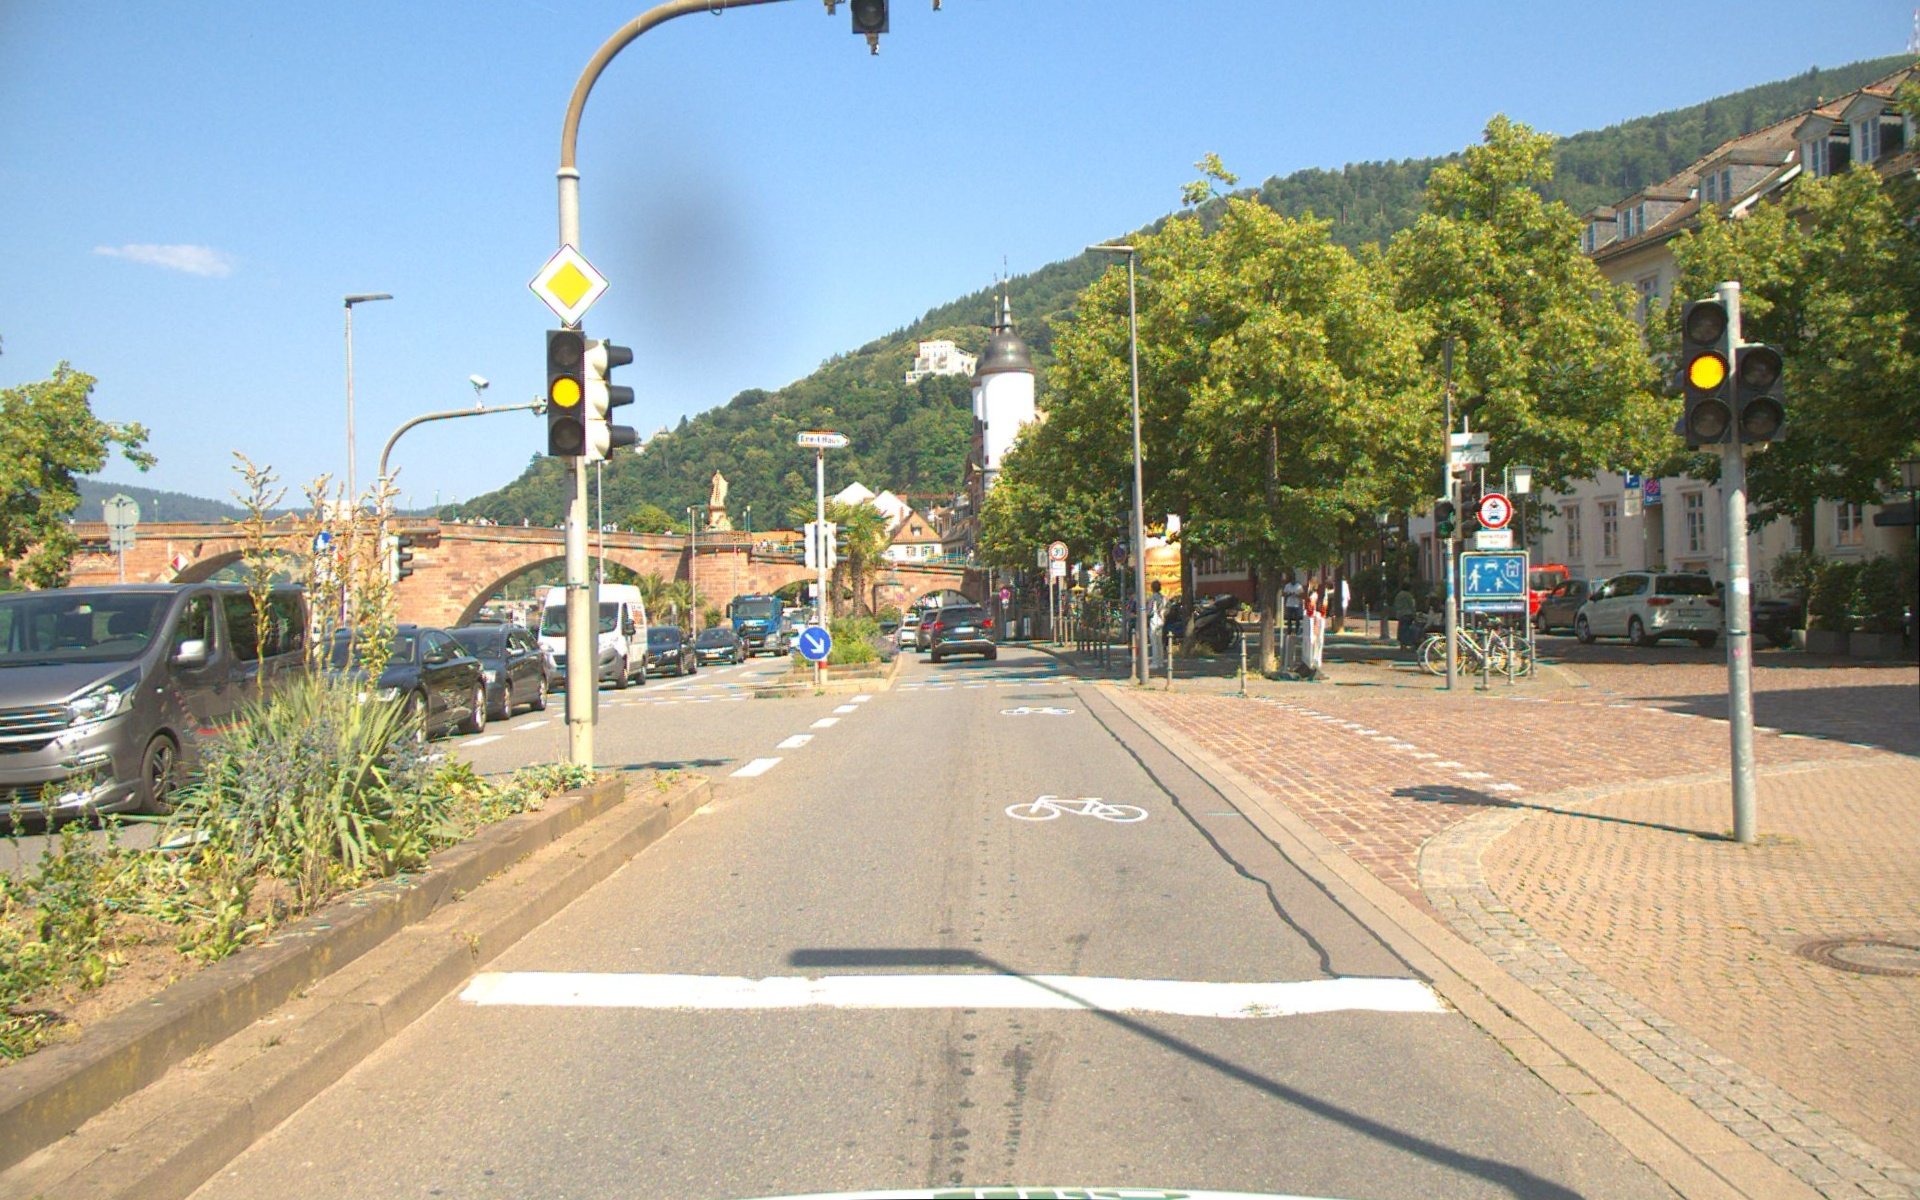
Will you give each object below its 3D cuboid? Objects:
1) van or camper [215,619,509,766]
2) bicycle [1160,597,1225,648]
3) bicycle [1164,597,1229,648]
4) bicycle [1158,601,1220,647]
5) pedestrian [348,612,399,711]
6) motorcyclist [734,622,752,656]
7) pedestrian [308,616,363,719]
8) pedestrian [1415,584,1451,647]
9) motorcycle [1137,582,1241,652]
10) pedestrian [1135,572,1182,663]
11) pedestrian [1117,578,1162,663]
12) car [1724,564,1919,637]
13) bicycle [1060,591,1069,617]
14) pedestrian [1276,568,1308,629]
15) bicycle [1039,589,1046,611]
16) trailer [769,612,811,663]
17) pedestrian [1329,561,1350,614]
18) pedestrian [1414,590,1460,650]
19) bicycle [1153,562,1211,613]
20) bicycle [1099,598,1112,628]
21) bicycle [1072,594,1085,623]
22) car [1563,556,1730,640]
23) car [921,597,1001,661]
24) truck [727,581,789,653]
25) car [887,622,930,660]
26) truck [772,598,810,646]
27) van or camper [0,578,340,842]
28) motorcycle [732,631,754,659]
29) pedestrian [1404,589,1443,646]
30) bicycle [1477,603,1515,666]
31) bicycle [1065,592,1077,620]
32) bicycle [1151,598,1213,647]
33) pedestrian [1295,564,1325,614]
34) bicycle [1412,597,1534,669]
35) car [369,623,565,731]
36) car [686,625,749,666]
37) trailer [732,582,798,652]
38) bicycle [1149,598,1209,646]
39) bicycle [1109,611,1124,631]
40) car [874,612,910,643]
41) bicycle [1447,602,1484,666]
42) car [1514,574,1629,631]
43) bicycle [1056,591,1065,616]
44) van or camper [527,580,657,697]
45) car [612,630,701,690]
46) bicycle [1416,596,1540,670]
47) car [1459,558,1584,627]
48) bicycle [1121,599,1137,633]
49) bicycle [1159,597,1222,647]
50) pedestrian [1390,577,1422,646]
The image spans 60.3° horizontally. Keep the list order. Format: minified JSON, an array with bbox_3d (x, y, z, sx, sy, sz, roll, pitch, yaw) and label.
[{"bbox_3d":[-7.339,1.057,20.919,1.954,1.502,5.063,-3,0,-2],"label":"van or camper"},{"bbox_3d":[5.595,0.536,39.825,1.456,1.139,0.377,-3,0,-7],"label":"bicycle"},{"bbox_3d":[5.635,0.537,39.444,1.454,1.139,0.294,-3,0,-4],"label":"bicycle"},{"bbox_3d":[5.698,0.595,41.207,1.456,1.049,0.293,-3,0,-7],"label":"bicycle"},{"bbox_3d":[-11.099,1.159,31.317,0.681,1.811,0.762,4,-1,-9],"label":"pedestrian"},{"bbox_3d":[-9.817,1.742,74.841,0.721,1.496,1.011,-2,0,-3],"label":"motorcyclist"},{"bbox_3d":[-11.419,1.223,30.275,0.681,1.811,0.762,4,-1,-9],"label":"pedestrian"},{"bbox_3d":[10.613,0.355,37.118,0.614,1.406,0.540,0,0,-9],"label":"pedestrian"},{"bbox_3d":[5.262,0.405,38.087,2.255,1.490,0.760,-4,-2,40],"label":"motorcycle"},{"bbox_3d":[4.069,0.356,33.904,0.681,1.802,0.762,-3,0,-9],"label":"pedestrian"},{"bbox_3d":[3.741,0.420,34.515,0.681,1.706,0.762,-3,0,-9],"label":"pedestrian"},{"bbox_3d":[19.238,0.006,36.879,3.667,1.457,1.620,-2,0,-4],"label":"car"},{"bbox_3d":[4.534,0.159,71.536,0.245,1.115,1.488,0,0,-2],"label":"bicycle"},{"bbox_3d":[9.336,-0.049,46.542,0.693,1.682,0.706,-2,0,-2],"label":"pedestrian"},{"bbox_3d":[4.189,0.019,84.167,0.348,1.115,1.489,0,0,4],"label":"bicycle"},{"bbox_3d":[-12.561,2.717,122.897,2.605,3.463,10.159,-2,0,-4],"label":"trailer"},{"bbox_3d":[14.915,-0.506,65.011,0.622,2.049,0.644,-2,0,-2],"label":"pedestrian"},{"bbox_3d":[10.479,0.440,36.366,0.681,1.274,0.762,-2,0,-9],"label":"pedestrian"},{"bbox_3d":[6.900,-0.395,51.407,1.739,1.509,0.269,-2,-1,-4],"label":"bicycle"},{"bbox_3d":[5.107,0.460,57.960,0.245,1.018,1.488,0,0,-3],"label":"bicycle"},{"bbox_3d":[4.703,0.331,65.563,0.338,1.115,1.488,0,0,-2],"label":"bicycle"},{"bbox_3d":[15.567,-0.066,37.780,1.733,1.759,4.566,-1,0,-2],"label":"car"},{"bbox_3d":[-0.027,0.777,46.047,1.888,1.580,4.828,-3,0,-3],"label":"car"},{"bbox_3d":[-10.240,0.849,84.061,2.604,3.463,4.448,-2,0,-1],"label":"truck"},{"bbox_3d":[-2.419,1.901,78.516,1.953,1.580,4.830,-2,0,-2],"label":"car"},{"bbox_3d":[-12.692,1.619,124.544,2.605,3.463,5.131,-2,0,-4],"label":"truck"},{"bbox_3d":[-7.393,0.842,14.698,1.954,1.906,5.176,-3,0,-3],"label":"van or camper"},{"bbox_3d":[-9.814,2.031,74.826,0.742,1.151,2.454,-2,0,-3],"label":"motorcycle"},{"bbox_3d":[10.582,0.400,37.769,0.614,1.304,0.752,0,0,-9],"label":"pedestrian"},{"bbox_3d":[9.694,0.619,29.941,0.581,1.086,2.066,-2,-1,17],"label":"bicycle"},{"bbox_3d":[4.639,0.258,69.133,0.270,1.114,1.488,-6,0,-2],"label":"bicycle"},{"bbox_3d":[5.564,0.552,41.444,1.456,1.139,0.250,-3,0,-7],"label":"bicycle"},{"bbox_3d":[13.744,-0.426,65.037,0.949,1.948,0.747,-2,-1,-1],"label":"pedestrian"},{"bbox_3d":[8.919,0.573,28.794,1.969,1.219,0.522,0,0,10],"label":"bicycle"},{"bbox_3d":[-8.031,1.202,27.409,1.913,1.433,4.568,-4,0,-2],"label":"car"},{"bbox_3d":[-9.514,1.803,65.161,1.913,1.437,4.216,-4,-1,-2],"label":"car"},{"bbox_3d":[-10.352,0.864,88.714,2.604,3.463,8.824,-2,0,-1],"label":"trailer"},{"bbox_3d":[5.601,0.555,42.232,1.456,1.139,0.250,-3,0,-7],"label":"bicycle"},{"bbox_3d":[5.189,0.691,54.915,0.245,0.675,1.468,-2,0,-3],"label":"bicycle"},{"bbox_3d":[-3.852,1.538,94.290,1.953,1.580,4.830,-2,0,-2],"label":"car"},{"bbox_3d":[9.233,0.602,30.173,0.581,1.086,2.066,-2,0,17],"label":"bicycle"},{"bbox_3d":[16.721,0.084,45.380,1.641,1.457,3.468,-2,0,-4],"label":"car"},{"bbox_3d":[4.475,0.152,73.462,0.245,1.115,1.488,0,0,-2],"label":"bicycle"},{"bbox_3d":[-8.717,0.896,39.706,1.954,2.492,5.491,-3,-1,-2],"label":"van or camper"},{"bbox_3d":[-8.856,1.709,48.590,1.782,1.481,4.926,-4,0,-2],"label":"car"},{"bbox_3d":[8.846,0.556,28.290,1.956,1.219,0.522,1,0,10],"label":"bicycle"},{"bbox_3d":[16.996,-0.225,50.312,1.954,1.935,4.630,-2,0,-4],"label":"car"},{"bbox_3d":[5.295,0.506,51.776,0.245,1.028,1.488,-2,0,-3],"label":"bicycle"},{"bbox_3d":[5.623,0.539,40.324,1.456,1.139,0.293,-3,0,-7],"label":"bicycle"},{"bbox_3d":[10.102,0.266,37.451,0.450,1.544,0.689,-1,0,-9],"label":"pedestrian"}]
